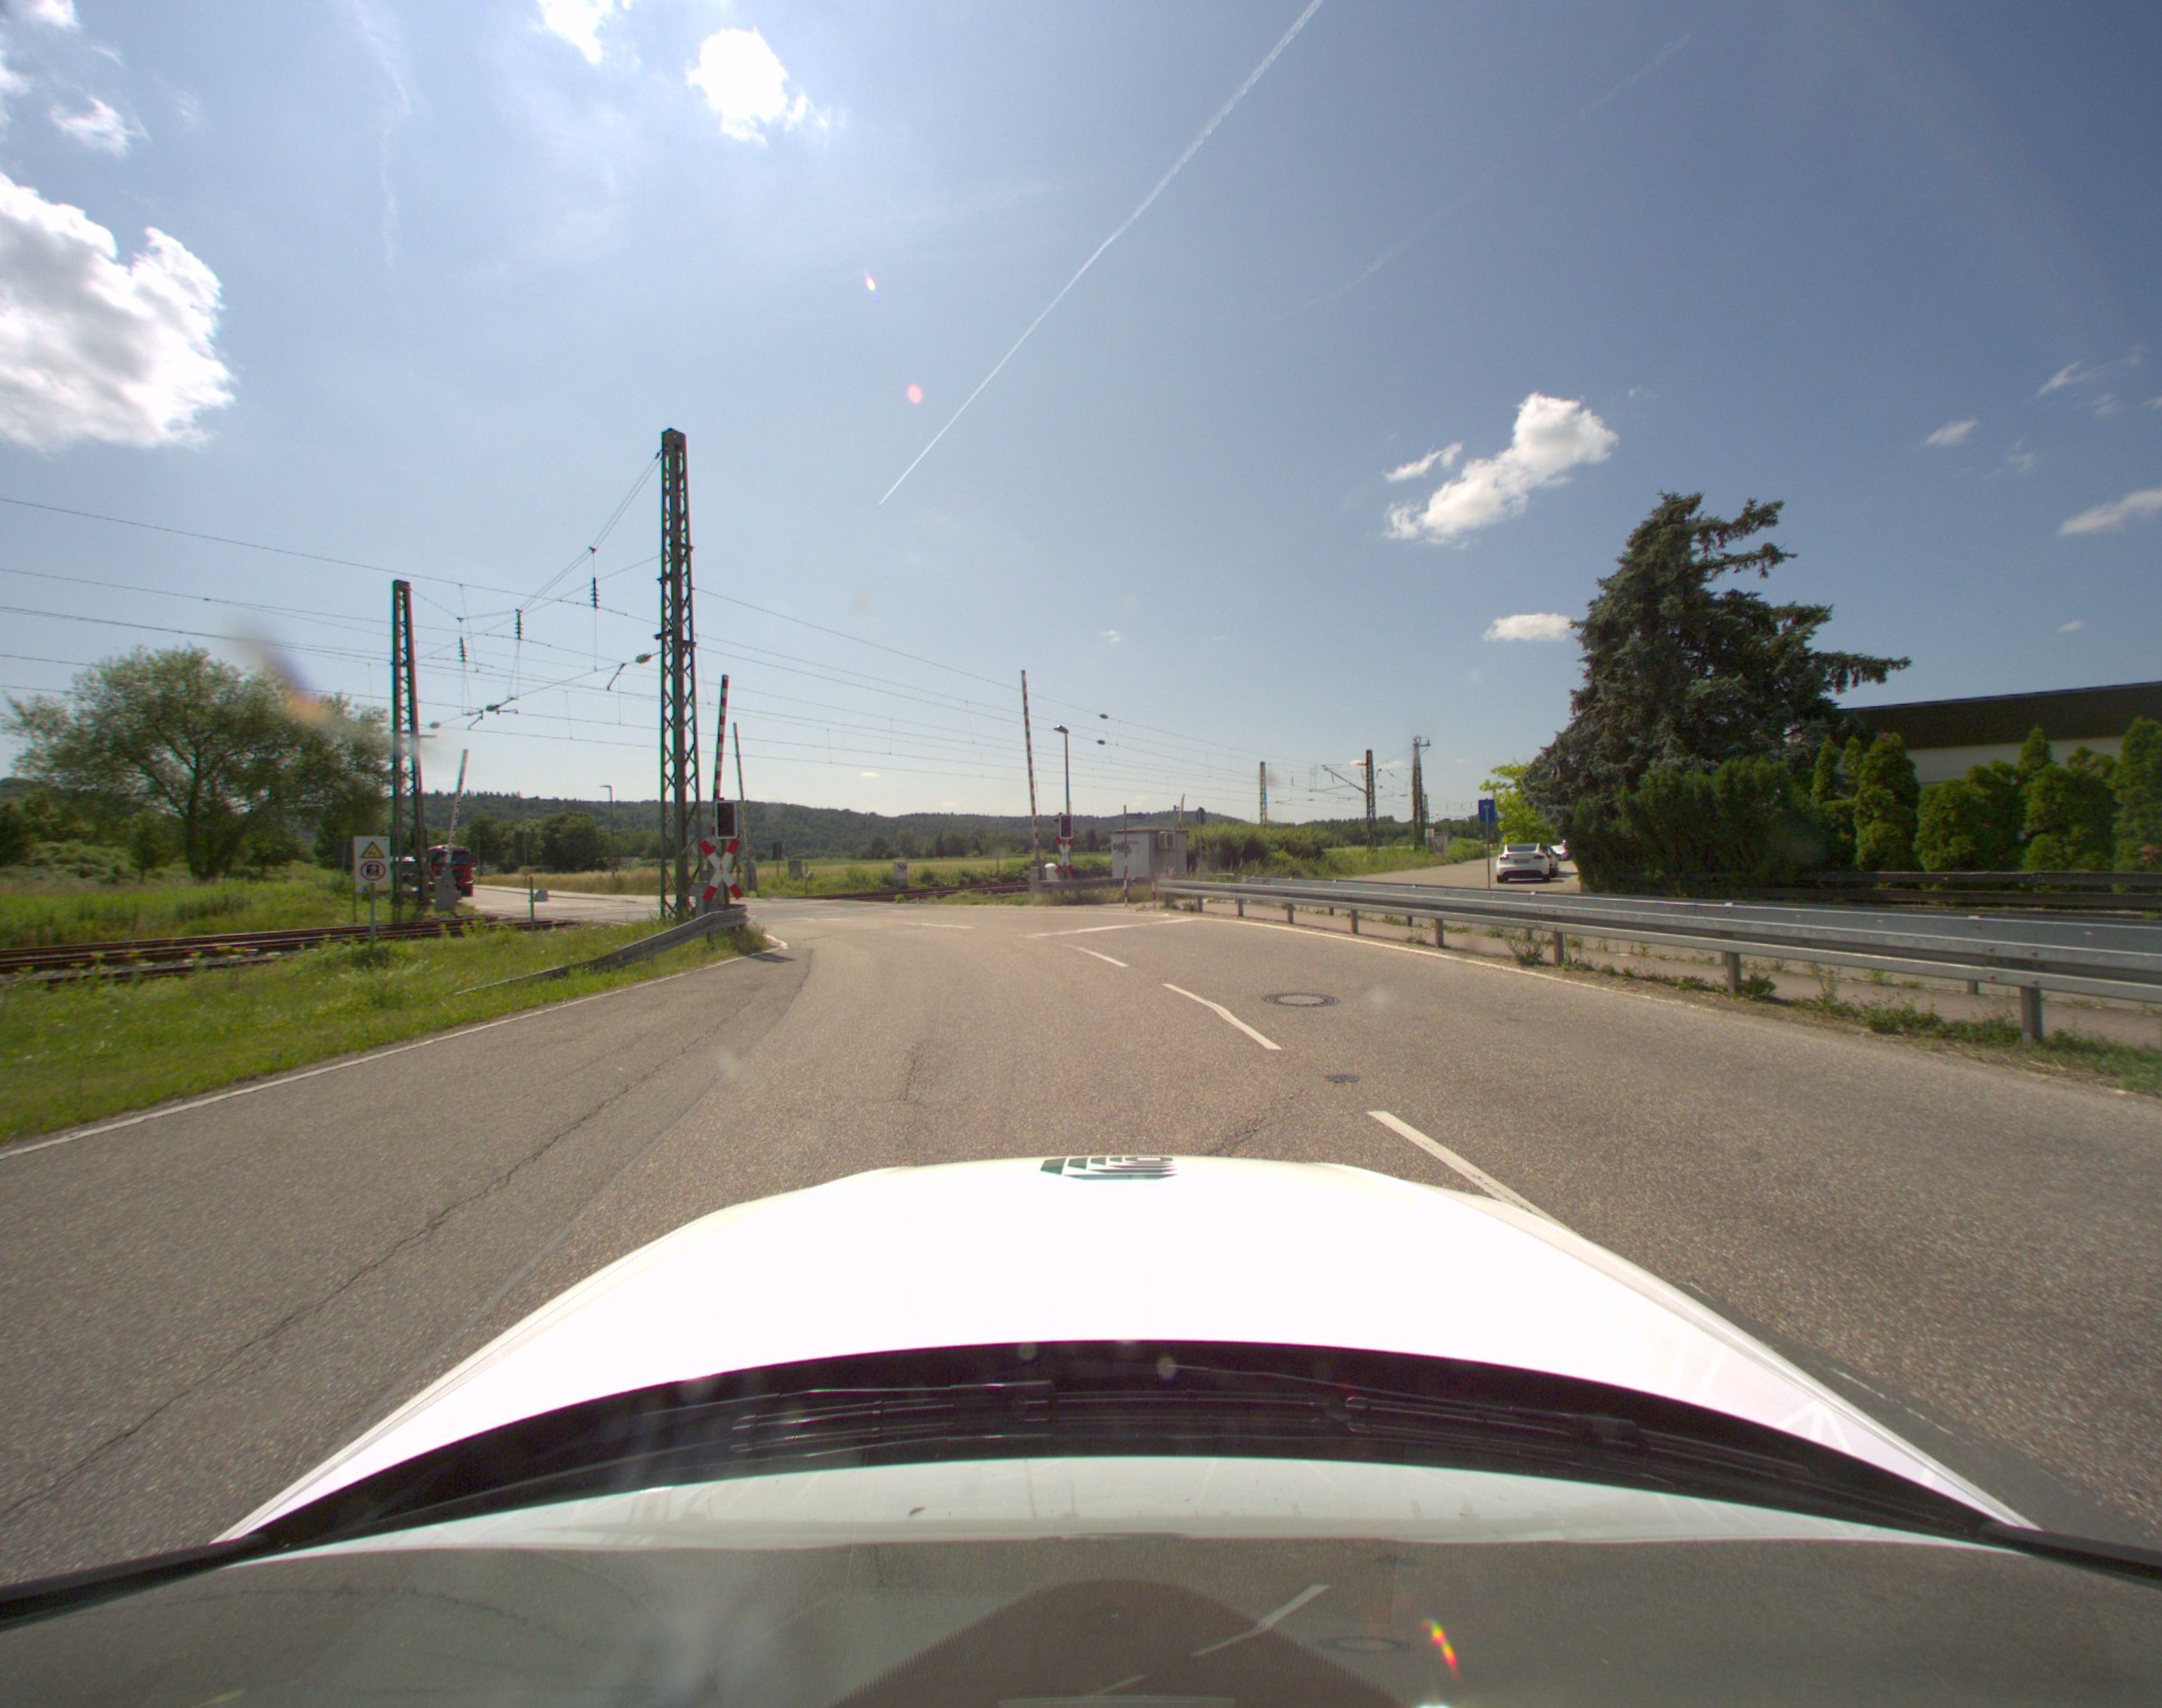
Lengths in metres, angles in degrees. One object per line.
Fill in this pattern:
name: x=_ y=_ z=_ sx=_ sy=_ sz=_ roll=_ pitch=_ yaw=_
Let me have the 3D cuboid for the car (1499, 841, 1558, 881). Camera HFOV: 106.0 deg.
car: x=18.550 y=0.256 z=33.685 sx=1.974 sy=1.510 sz=4.482 roll=-2 pitch=0 yaw=30

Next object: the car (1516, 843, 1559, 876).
car: x=21.558 y=0.250 z=38.411 sx=1.630 sy=1.455 sz=4.025 roll=-1 pitch=0 yaw=31

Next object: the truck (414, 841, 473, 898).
truck: x=-46.703 y=1.122 z=59.471 sx=2.896 sy=3.745 sz=12.005 roll=-1 pitch=-1 yaw=-40

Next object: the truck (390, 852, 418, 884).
truck: x=-88.237 y=1.792 z=106.150 sx=2.593 sy=3.948 sz=5.967 roll=-2 pitch=0 yaw=-41
